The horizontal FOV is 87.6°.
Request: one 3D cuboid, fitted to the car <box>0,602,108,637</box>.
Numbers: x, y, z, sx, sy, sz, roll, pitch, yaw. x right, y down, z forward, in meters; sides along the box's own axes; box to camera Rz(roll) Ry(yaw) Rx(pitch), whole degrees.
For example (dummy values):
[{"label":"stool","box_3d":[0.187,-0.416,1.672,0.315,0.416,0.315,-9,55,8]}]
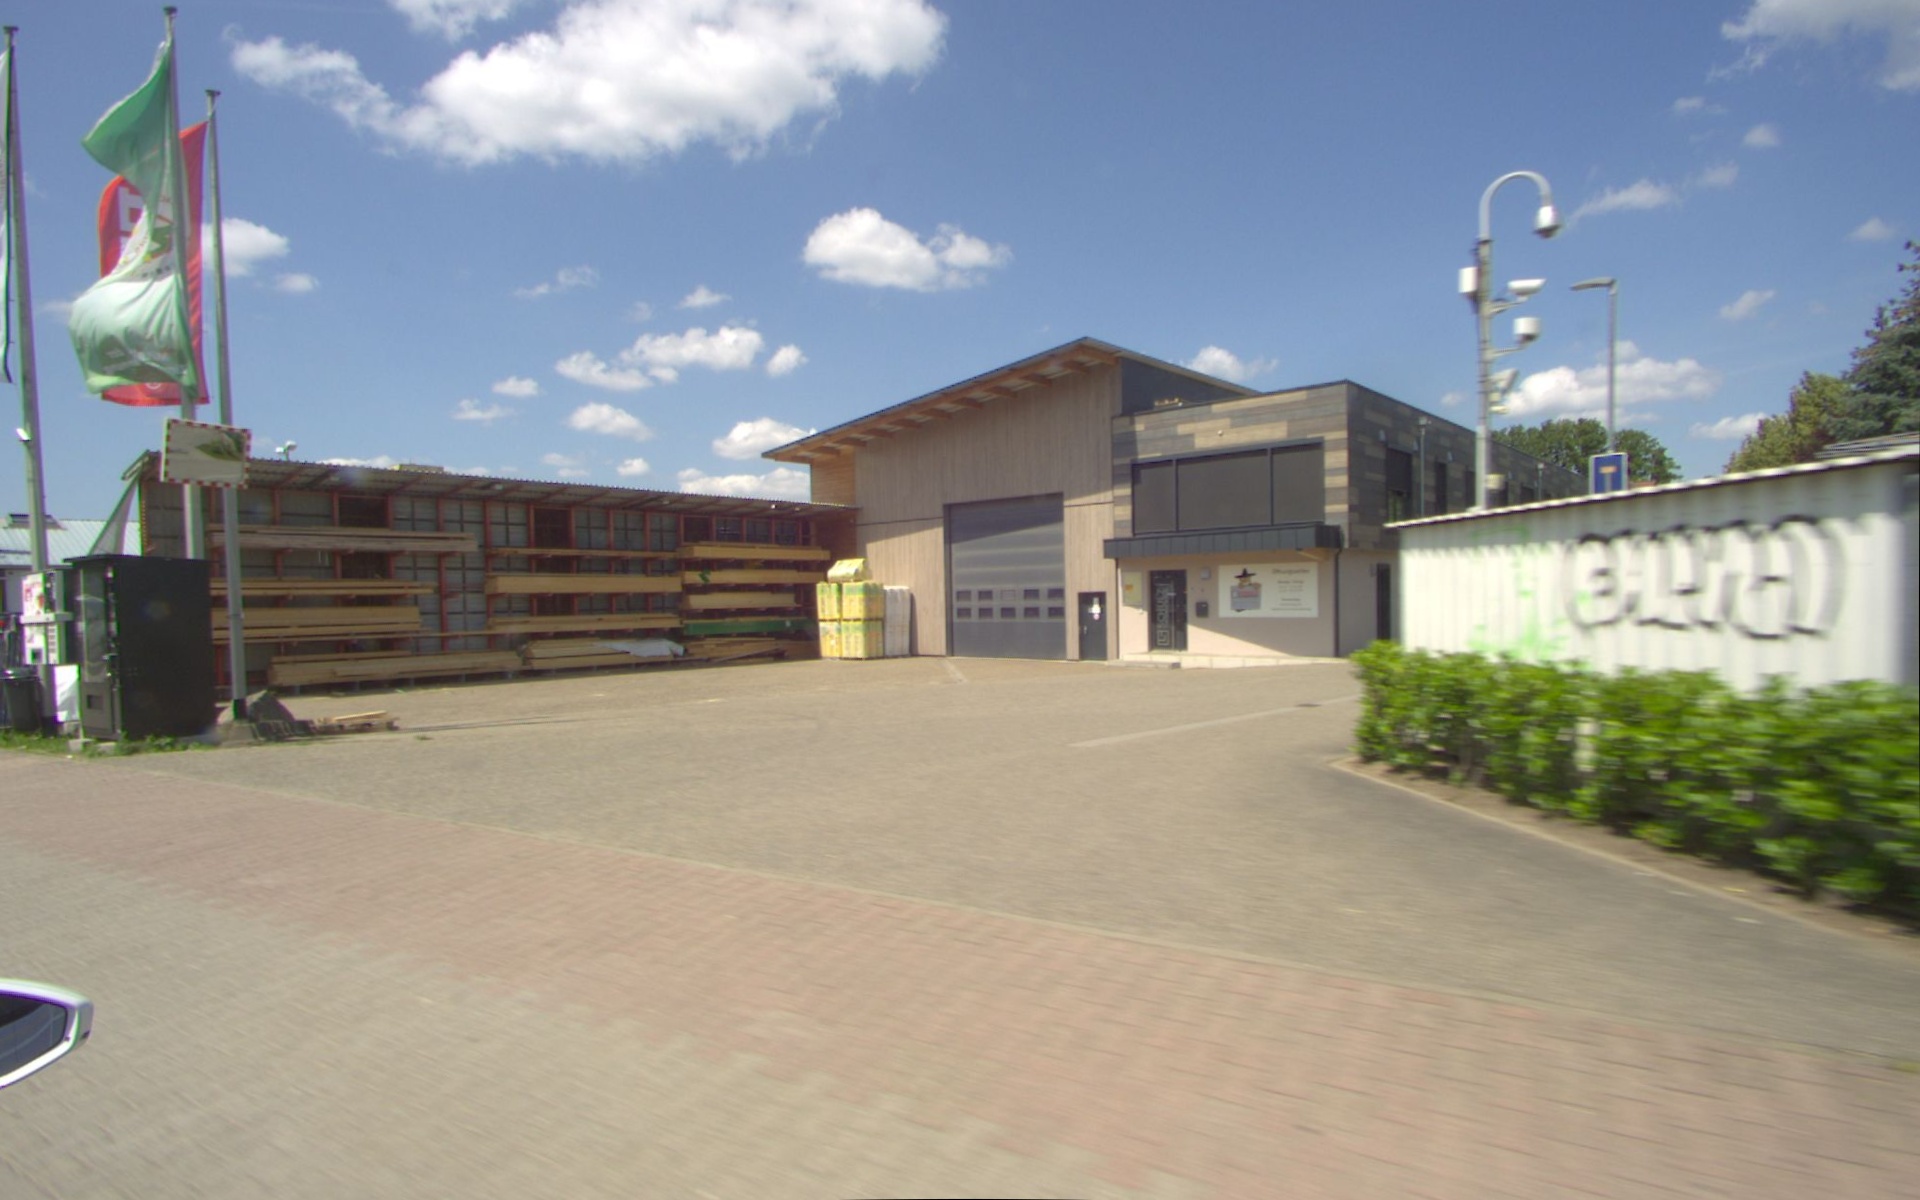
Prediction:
[{"label":"car","box_3d":[-42.843,0.899,46.917,1.964,1.514,3.992,-1,0,18]}]
